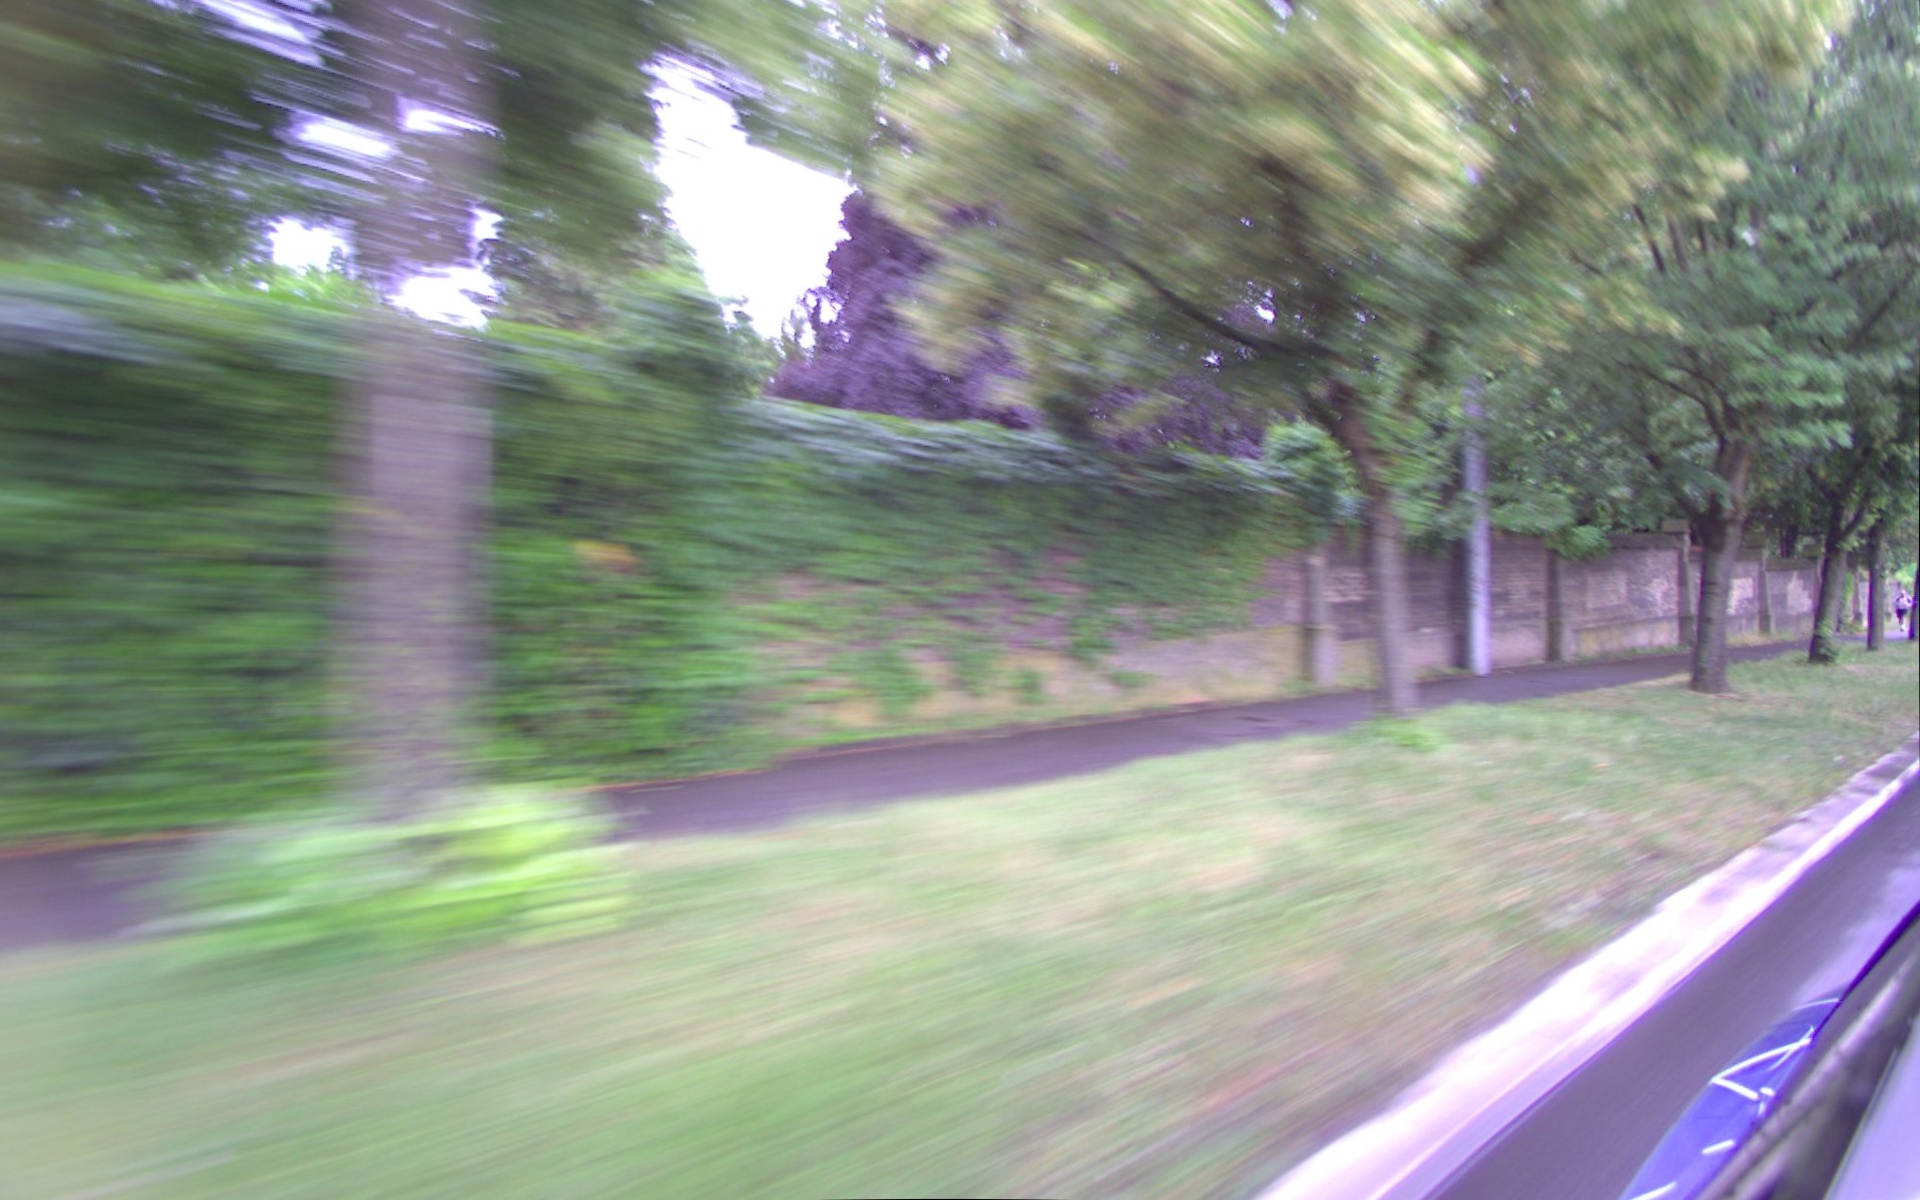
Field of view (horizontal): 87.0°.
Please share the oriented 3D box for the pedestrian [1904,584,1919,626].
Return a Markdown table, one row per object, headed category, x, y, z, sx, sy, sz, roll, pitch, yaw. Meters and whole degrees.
| category | x | y | z | sx | sy | sz | roll | pitch | yaw |
| --- | --- | --- | --- | --- | --- | --- | --- | --- | --- |
| pedestrian | 41.677 | 0.207 | 44.123 | 0.886 | 1.801 | 0.709 | 0 | 1 | -44 |
